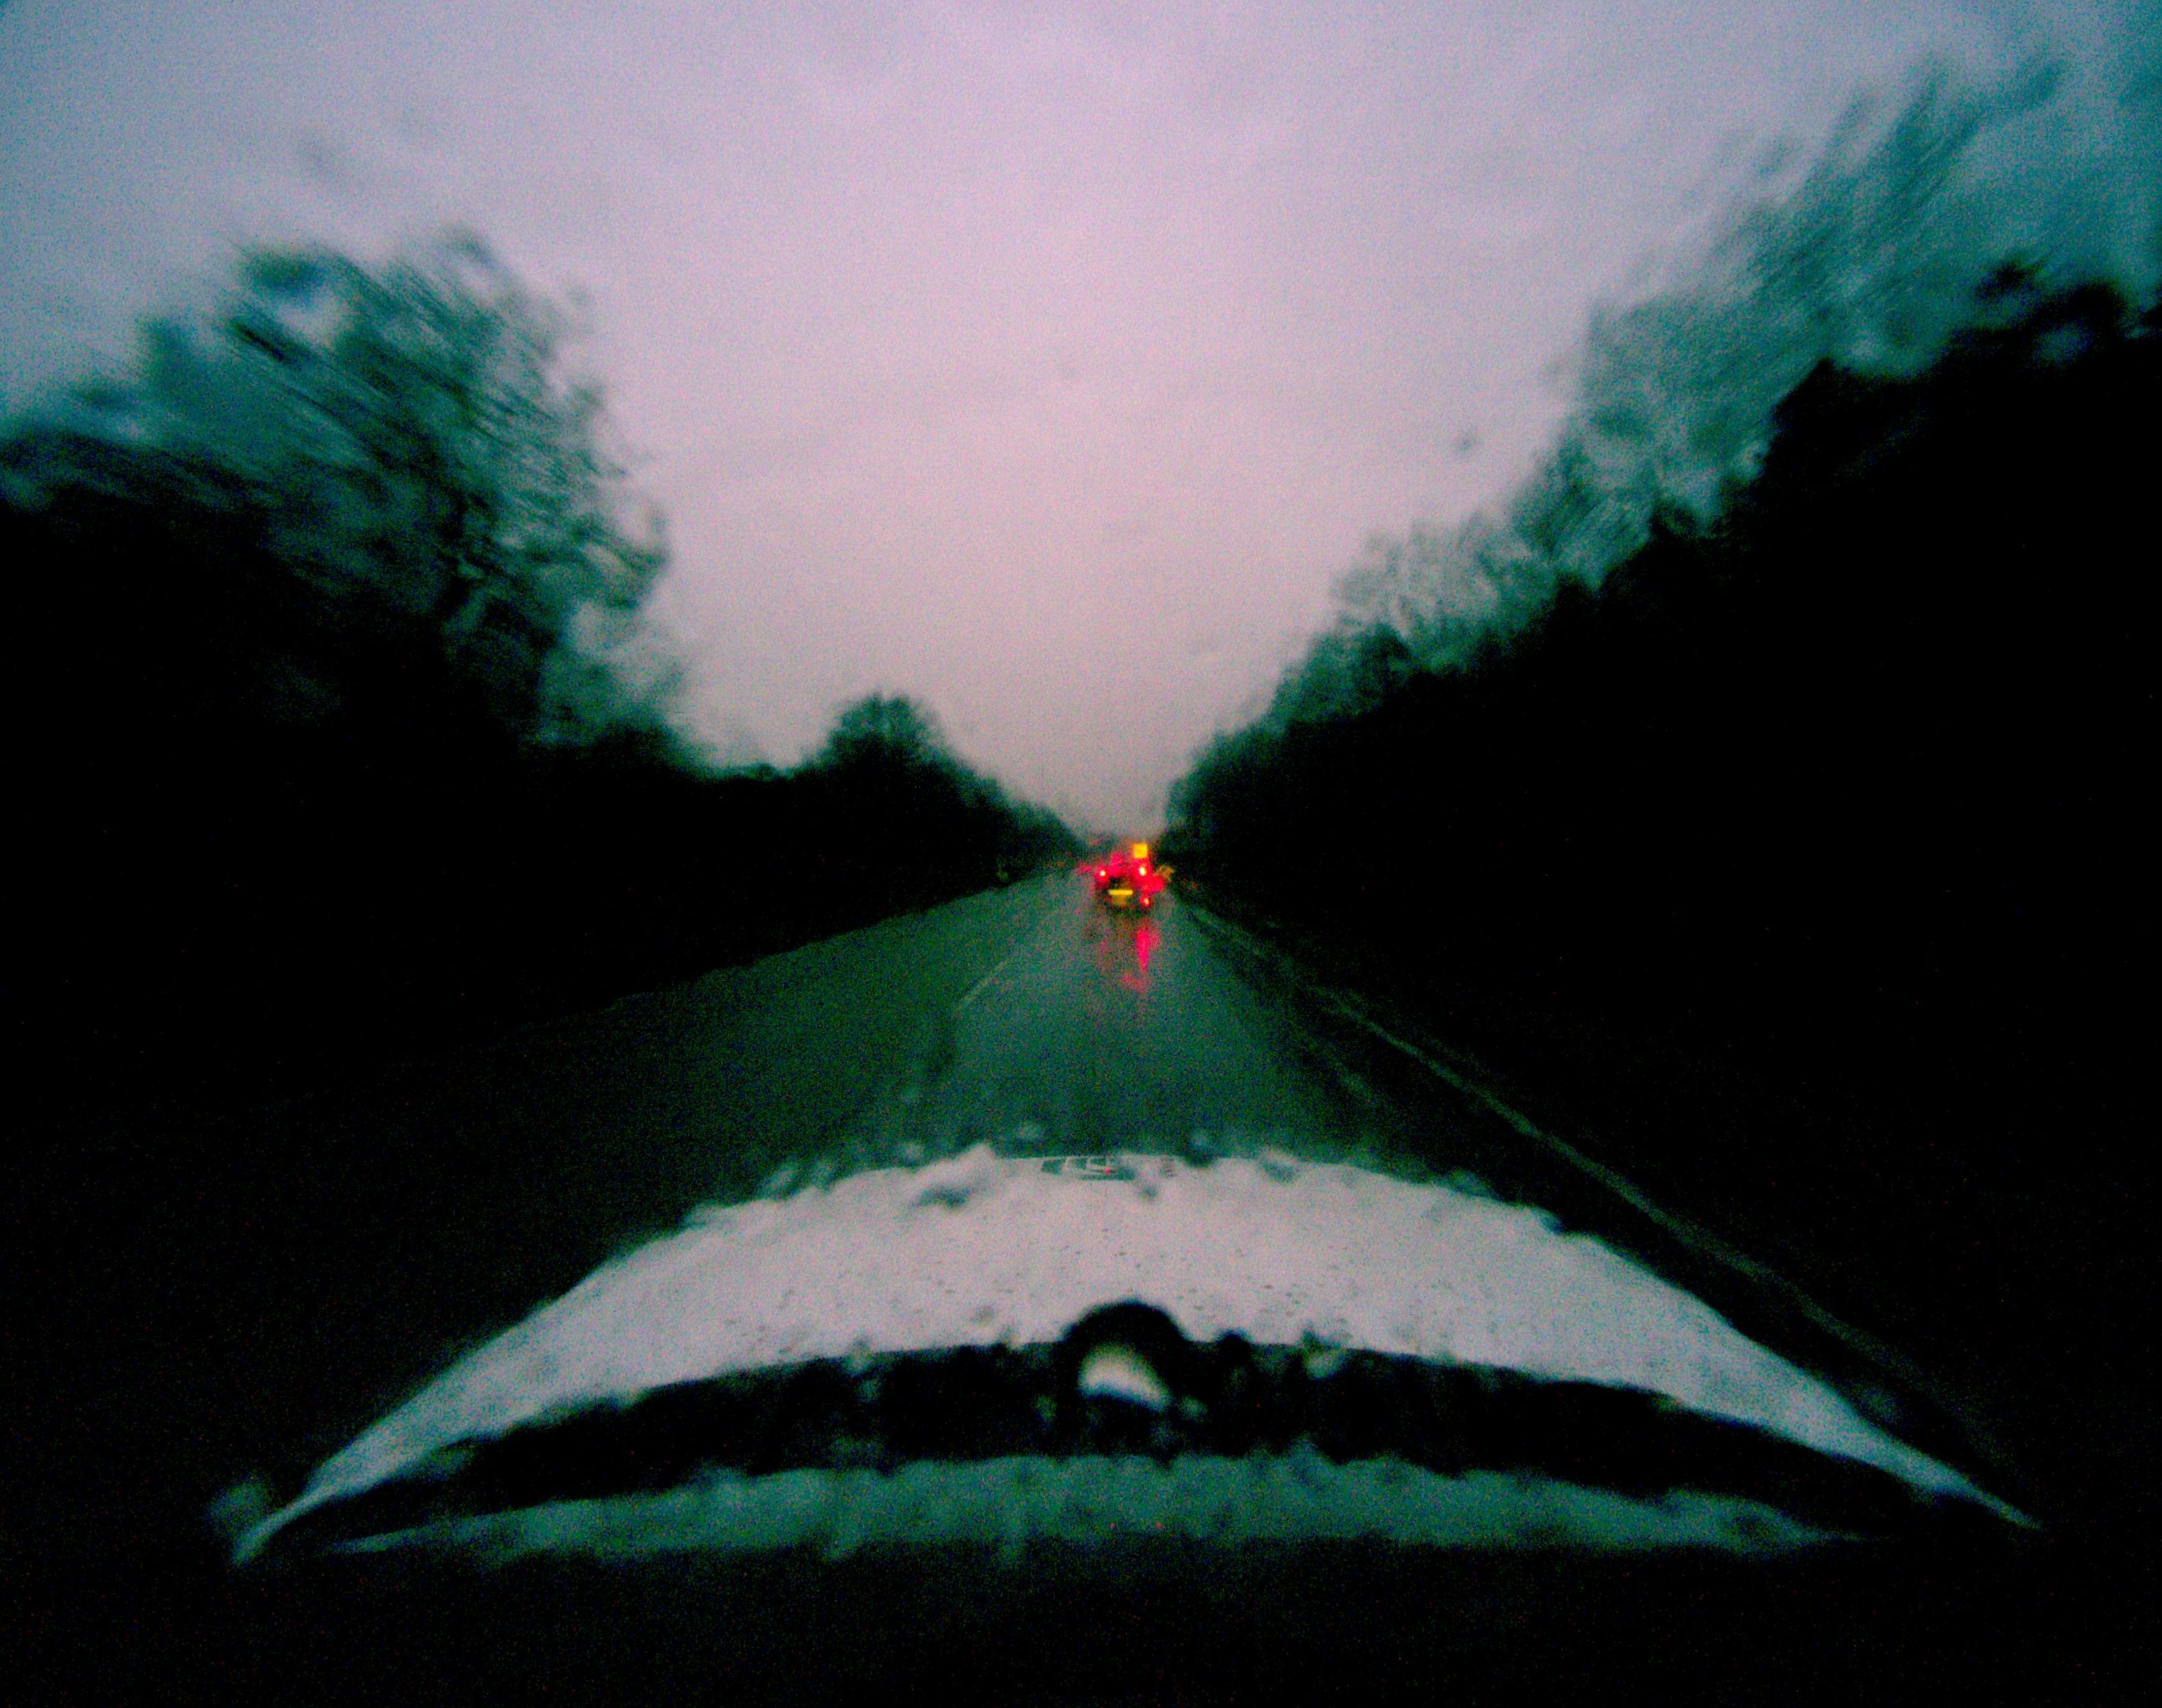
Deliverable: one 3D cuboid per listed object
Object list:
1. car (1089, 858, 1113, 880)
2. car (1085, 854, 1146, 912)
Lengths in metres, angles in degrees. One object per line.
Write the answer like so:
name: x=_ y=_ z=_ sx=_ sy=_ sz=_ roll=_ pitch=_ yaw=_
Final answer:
car: x=1.562 y=1.176 z=63.409 sx=1.720 sy=1.643 sz=4.003 roll=-1 pitch=0 yaw=3
car: x=1.120 y=0.851 z=25.501 sx=1.720 sy=1.643 sz=4.003 roll=-1 pitch=0 yaw=3
